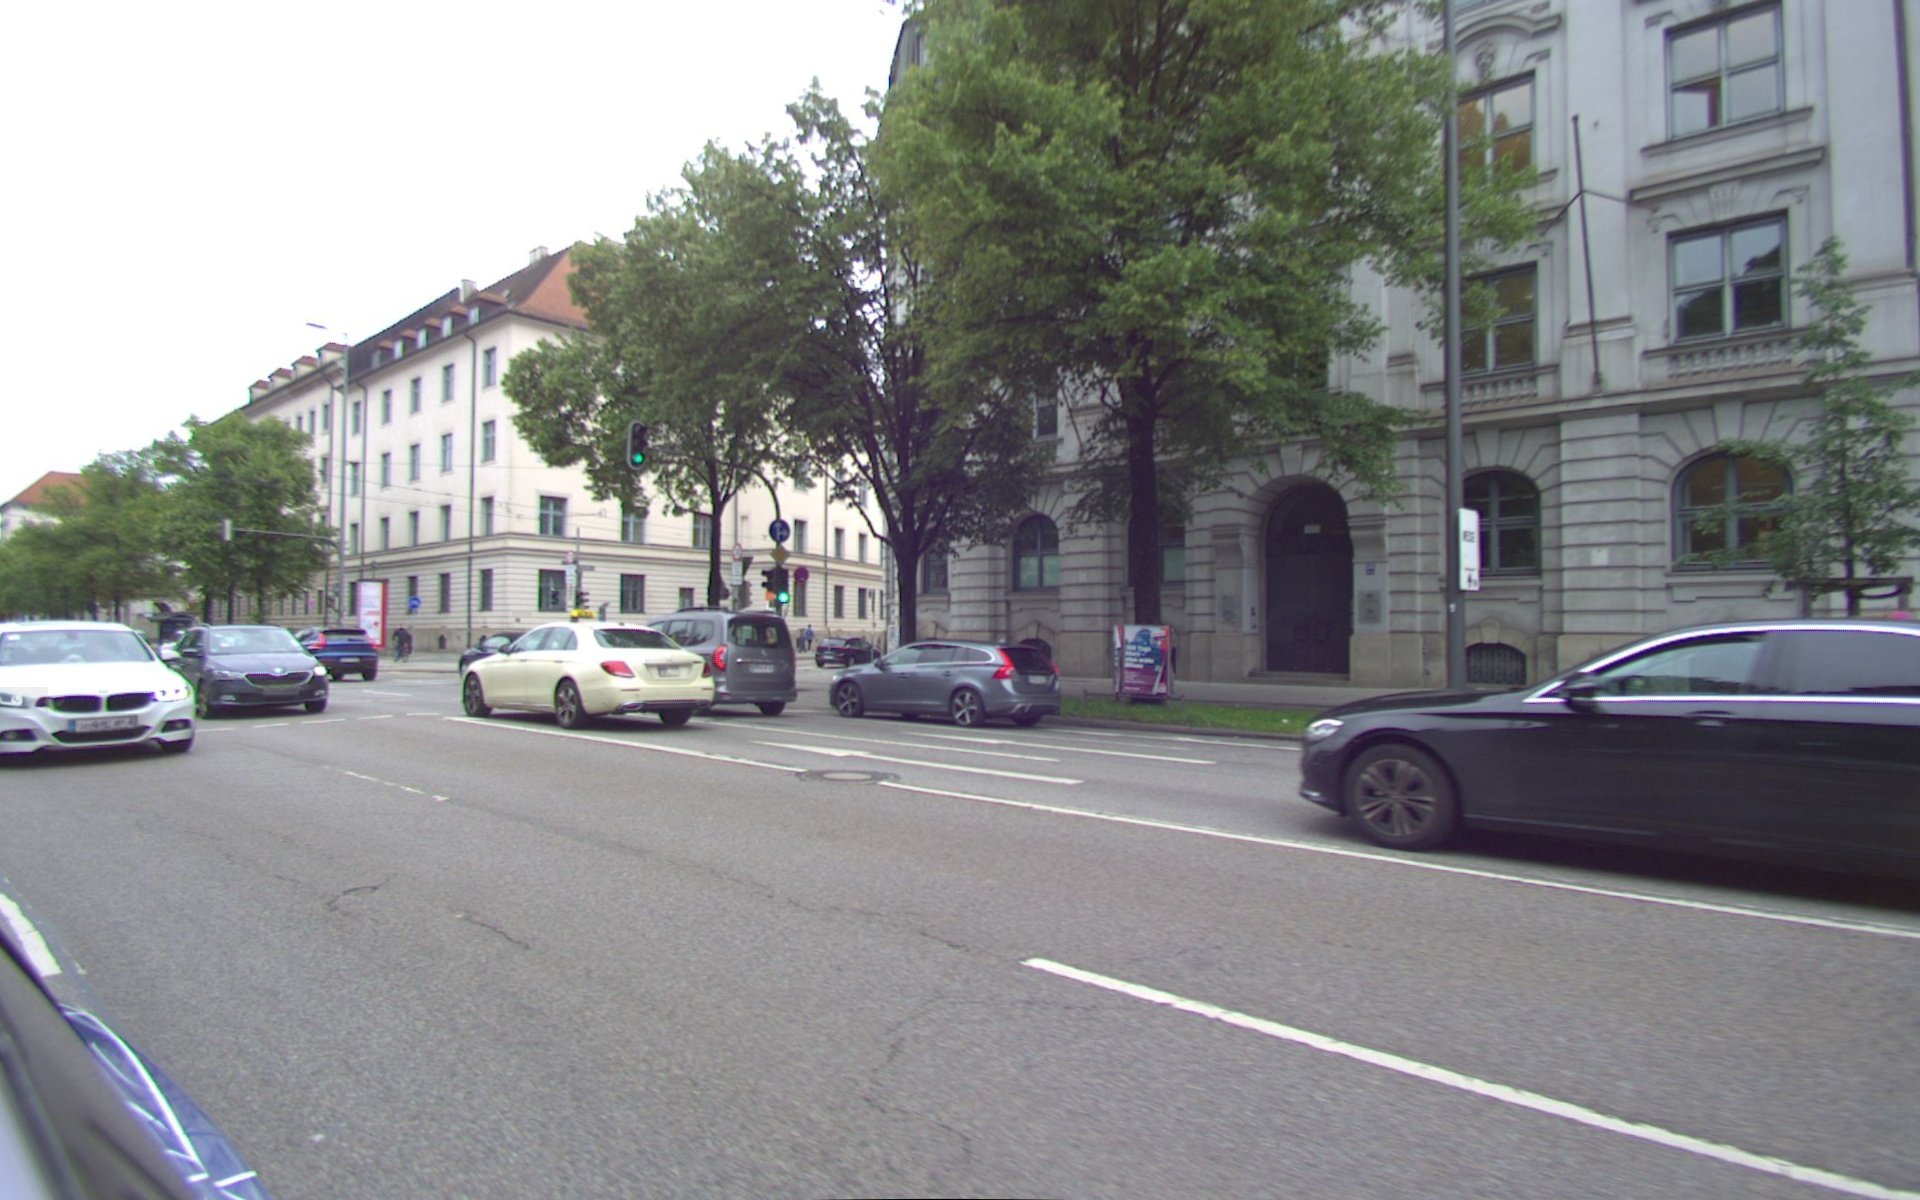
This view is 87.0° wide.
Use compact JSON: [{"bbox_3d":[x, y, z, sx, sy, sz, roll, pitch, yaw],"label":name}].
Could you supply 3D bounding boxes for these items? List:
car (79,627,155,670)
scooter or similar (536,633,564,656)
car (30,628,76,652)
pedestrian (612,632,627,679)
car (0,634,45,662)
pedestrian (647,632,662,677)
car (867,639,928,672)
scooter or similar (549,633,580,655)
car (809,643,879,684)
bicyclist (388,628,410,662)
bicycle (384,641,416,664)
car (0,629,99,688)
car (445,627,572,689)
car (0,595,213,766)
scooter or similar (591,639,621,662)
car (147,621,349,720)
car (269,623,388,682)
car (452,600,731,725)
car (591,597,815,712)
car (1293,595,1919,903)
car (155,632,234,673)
[{"bbox_3d":[-32.376,1.842,38.841,3.944,1.583,1.617,-2,-3,41],"label":"car"},{"bbox_3d":[-21.370,2.298,52.708,0.680,1.127,1.950,0,-1,-43],"label":"scooter or similar"},{"bbox_3d":[-59.234,2.588,66.082,4.225,1.541,1.735,-1,-2,41],"label":"car"},{"bbox_3d":[-13.818,2.236,41.068,0.494,1.869,0.529,1,-2,-31],"label":"pedestrian"},{"bbox_3d":[-54.099,2.747,58.289,3.944,1.583,1.617,-2,-3,41],"label":"car"},{"bbox_3d":[-12.780,2.291,42.362,0.494,1.869,0.471,1,-2,-31],"label":"pedestrian"},{"bbox_3d":[-3.061,2.737,50.272,1.682,1.530,3.546,-1,-2,22],"label":"car"},{"bbox_3d":[-20.948,2.327,53.584,1.947,1.127,0.681,-1,-1,42],"label":"scooter or similar"},{"bbox_3d":[-5.149,2.812,45.323,1.682,1.744,3.546,-1,-2,22],"label":"car"},{"bbox_3d":[-26.652,2.128,48.052,0.892,1.590,0.653,-2,-1,42],"label":"bicyclist"},{"bbox_3d":[-26.574,2.482,47.983,2.180,0.995,0.655,-1,-1,42],"label":"bicycle"},{"bbox_3d":[-25.659,1.589,28.331,4.335,1.528,1.674,-1,-2,40],"label":"car"},{"bbox_3d":[-12.687,1.559,28.328,4.055,1.588,1.716,-1,-2,41],"label":"car"},{"bbox_3d":[-10.632,0.827,11.989,5.023,1.649,1.774,-1,-2,41],"label":"car"},{"bbox_3d":[-19.362,2.755,55.297,1.901,1.166,0.681,-1,-1,42],"label":"scooter or similar"},{"bbox_3d":[-12.036,1.084,17.014,4.272,1.458,1.774,-1,-2,41],"label":"car"},{"bbox_3d":[-19.049,1.544,30.444,4.348,1.668,1.821,-1,-4,41],"label":"car"},{"bbox_3d":[-5.559,0.832,14.917,4.822,1.554,1.808,-1,-2,42],"label":"car"},{"bbox_3d":[-4.719,0.925,18.242,4.260,1.763,1.808,2,-3,43],"label":"car"},{"bbox_3d":[4.559,0.747,5.818,4.743,1.434,1.749,-2,-4,40],"label":"car"},{"bbox_3d":[-31.460,2.159,41.560,3.997,1.608,1.726,-2,-4,41],"label":"car"}]
